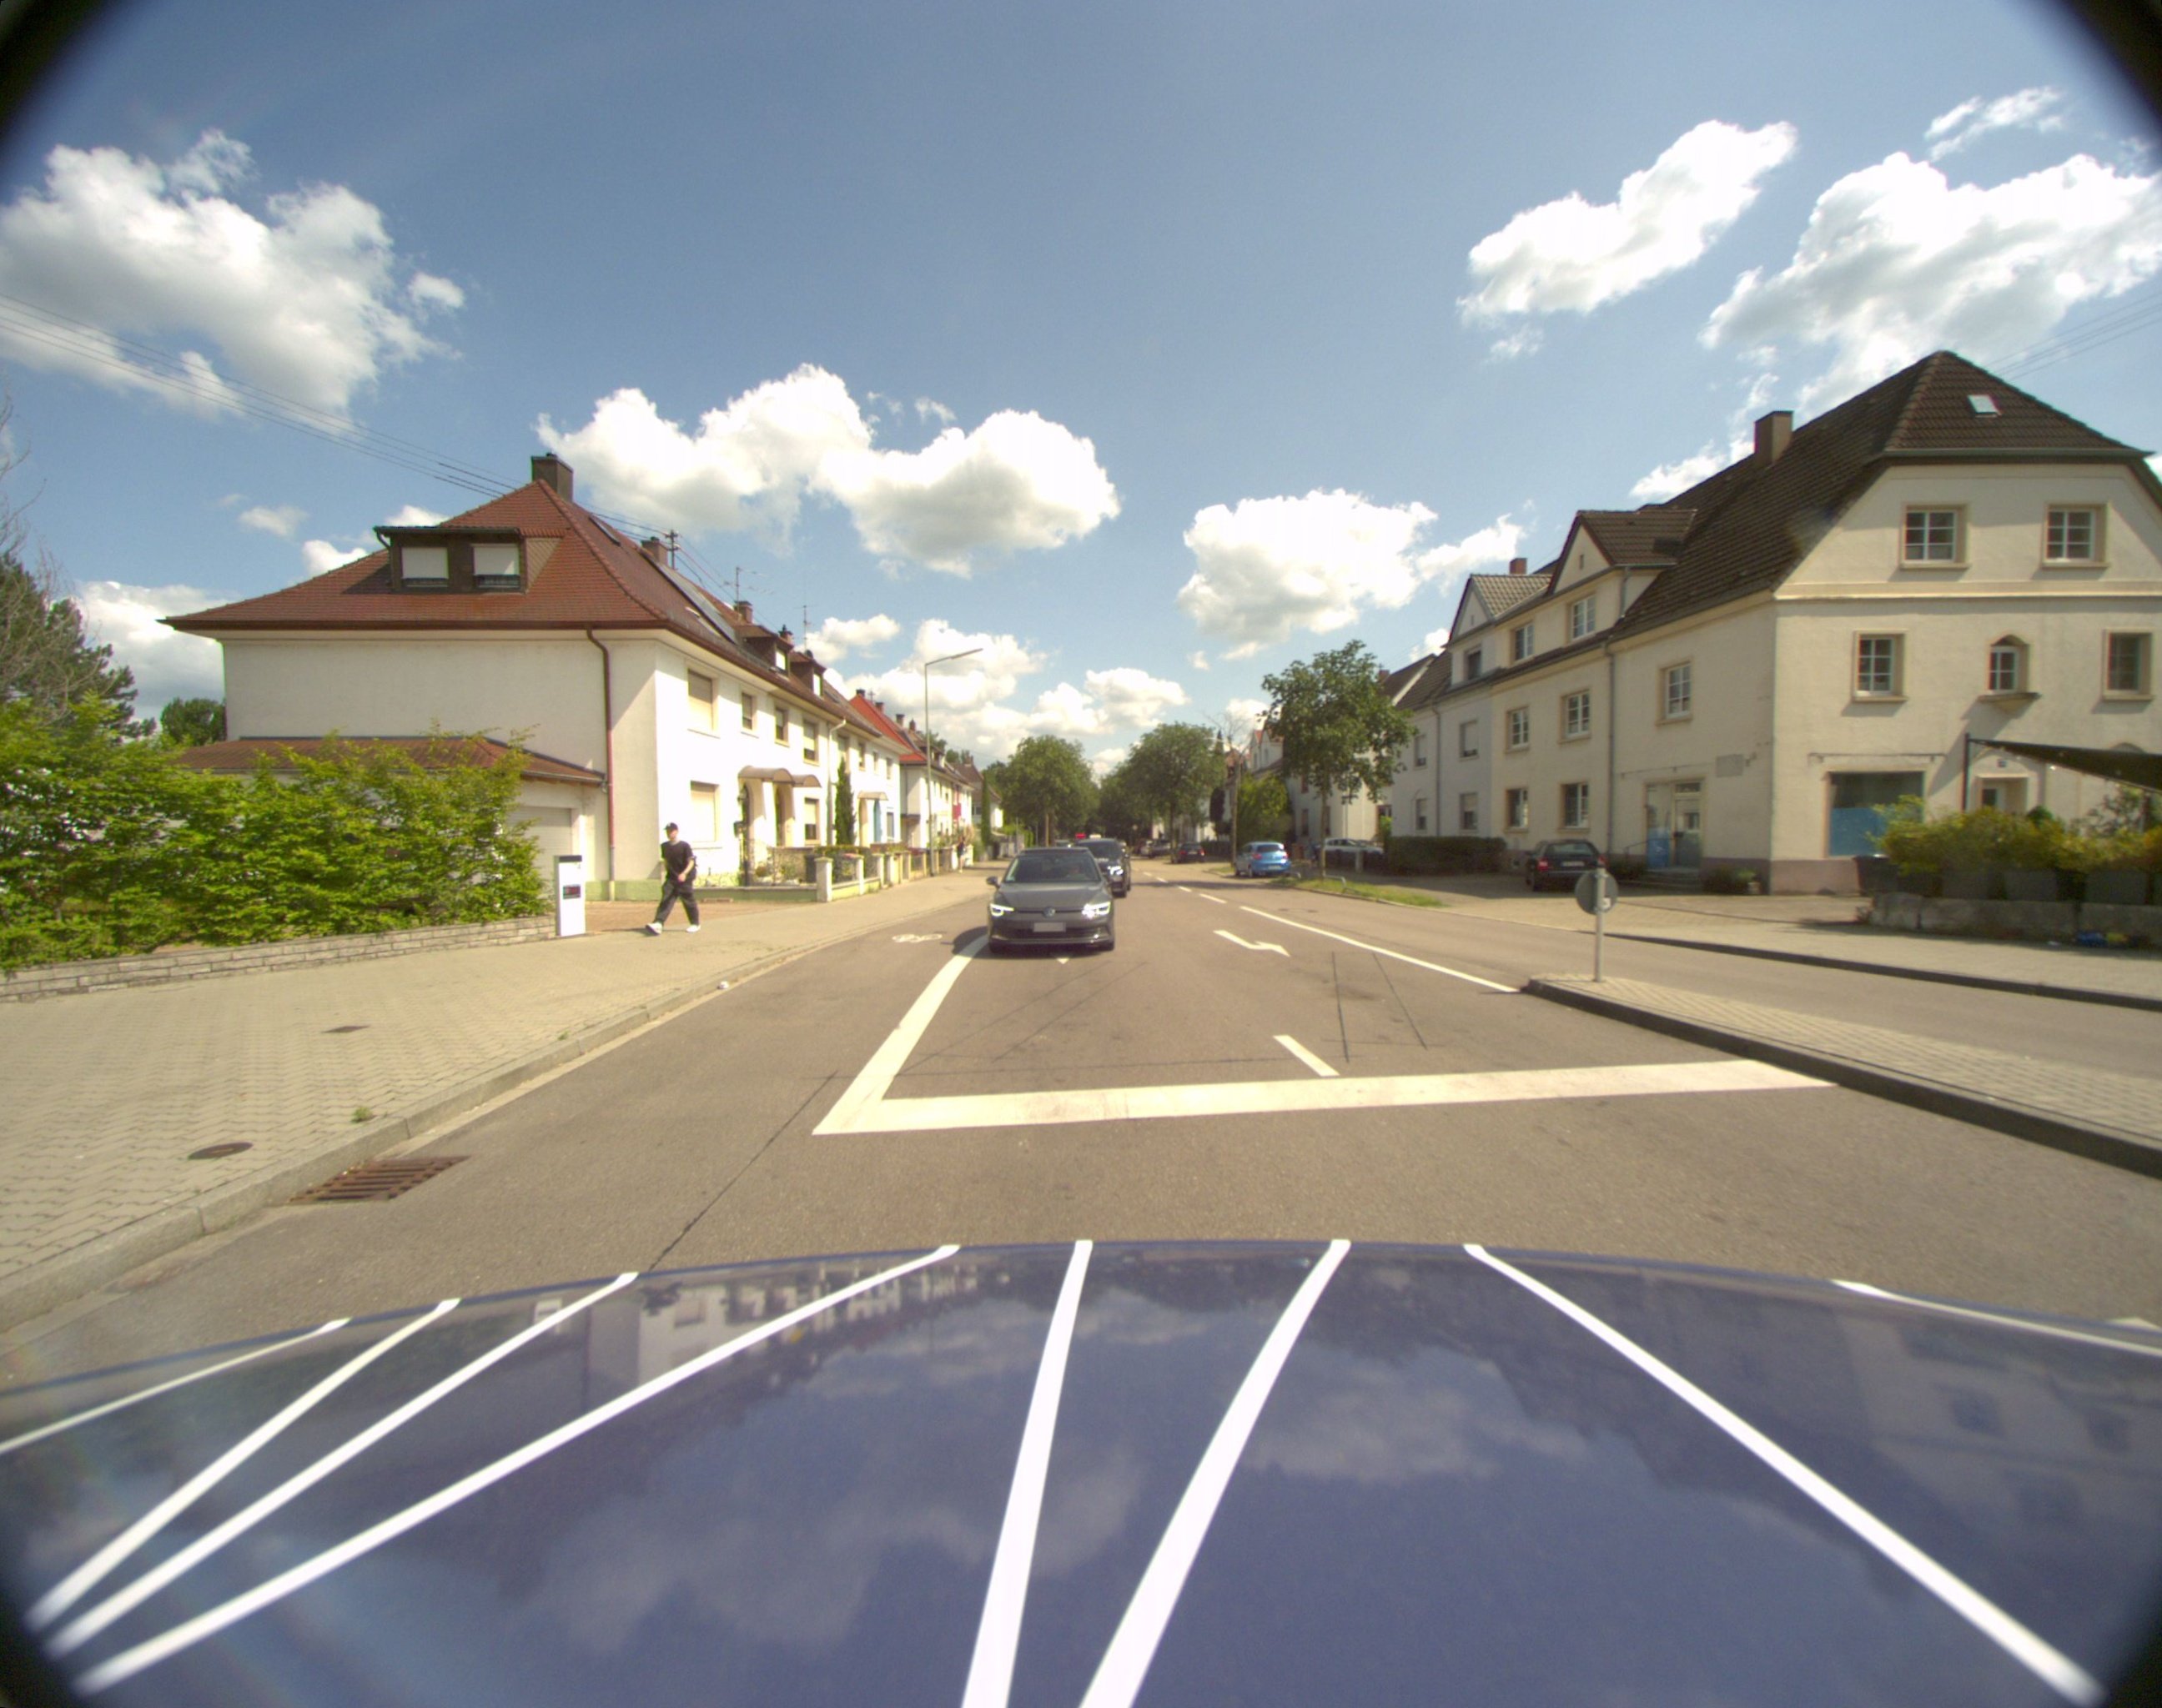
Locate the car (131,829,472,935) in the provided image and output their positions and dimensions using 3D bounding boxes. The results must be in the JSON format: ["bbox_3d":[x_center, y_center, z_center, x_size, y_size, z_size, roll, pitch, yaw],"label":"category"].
[{"bbox_3d":[-13.388,0.437,13.258,3.997,1.699,1.867,0,1,1],"label":"car"}]

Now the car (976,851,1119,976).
[{"bbox_3d":[-0.544,0.730,11.807,1.767,1.466,4.684,0,1,-3],"label":"car"}]

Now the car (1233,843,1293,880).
[{"bbox_3d":[7.591,0.258,31.937,1.710,1.454,3.153,0,1,-2],"label":"car"}]

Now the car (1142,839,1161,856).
[{"bbox_3d":[6.443,-0.619,69.705,1.624,1.417,3.001,-1,1,4],"label":"car"}]

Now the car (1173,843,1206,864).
[{"bbox_3d":[7.029,-0.051,49.730,1.709,1.289,3.917,0,1,2],"label":"car"}]

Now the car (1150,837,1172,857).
[{"bbox_3d":[6.666,-0.578,63.716,1.562,1.645,3.573,0,1,2],"label":"car"}]

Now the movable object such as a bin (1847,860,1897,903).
[{"bbox_3d":[18.182,0.621,17.474,0.616,0.966,0.510,0,2,-2],"label":"movable object such as a bin"}]

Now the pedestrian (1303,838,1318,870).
[{"bbox_3d":[11.191,-0.019,37.083,0.631,1.527,0.618,0,2,9],"label":"pedestrian"}]

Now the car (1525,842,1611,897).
[{"bbox_3d":[13.672,0.360,21.539,1.757,1.378,4.109,0,1,28],"label":"car"}]

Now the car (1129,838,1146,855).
[{"bbox_3d":[5.860,-0.803,78.725,1.562,1.645,3.250,0,1,2],"label":"car"}]

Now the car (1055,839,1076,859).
[{"bbox_3d":[-1.191,-0.390,59.869,1.381,1.493,3.001,-1,1,4],"label":"car"}]

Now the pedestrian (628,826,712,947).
[{"bbox_3d":[-6.256,0.459,11.591,0.591,1.758,0.939,1,2,31],"label":"pedestrian"}]

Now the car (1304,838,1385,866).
[{"bbox_3d":[14.208,-0.110,41.158,3.805,1.446,1.710,0,1,2],"label":"car"}]

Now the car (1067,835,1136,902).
[{"bbox_3d":[0.496,0.324,22.123,1.776,1.754,4.872,0,1,-1],"label":"car"}]

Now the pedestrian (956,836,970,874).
[{"bbox_3d":[-5.338,0.021,34.398,0.519,1.702,0.618,0,2,0],"label":"pedestrian"}]
